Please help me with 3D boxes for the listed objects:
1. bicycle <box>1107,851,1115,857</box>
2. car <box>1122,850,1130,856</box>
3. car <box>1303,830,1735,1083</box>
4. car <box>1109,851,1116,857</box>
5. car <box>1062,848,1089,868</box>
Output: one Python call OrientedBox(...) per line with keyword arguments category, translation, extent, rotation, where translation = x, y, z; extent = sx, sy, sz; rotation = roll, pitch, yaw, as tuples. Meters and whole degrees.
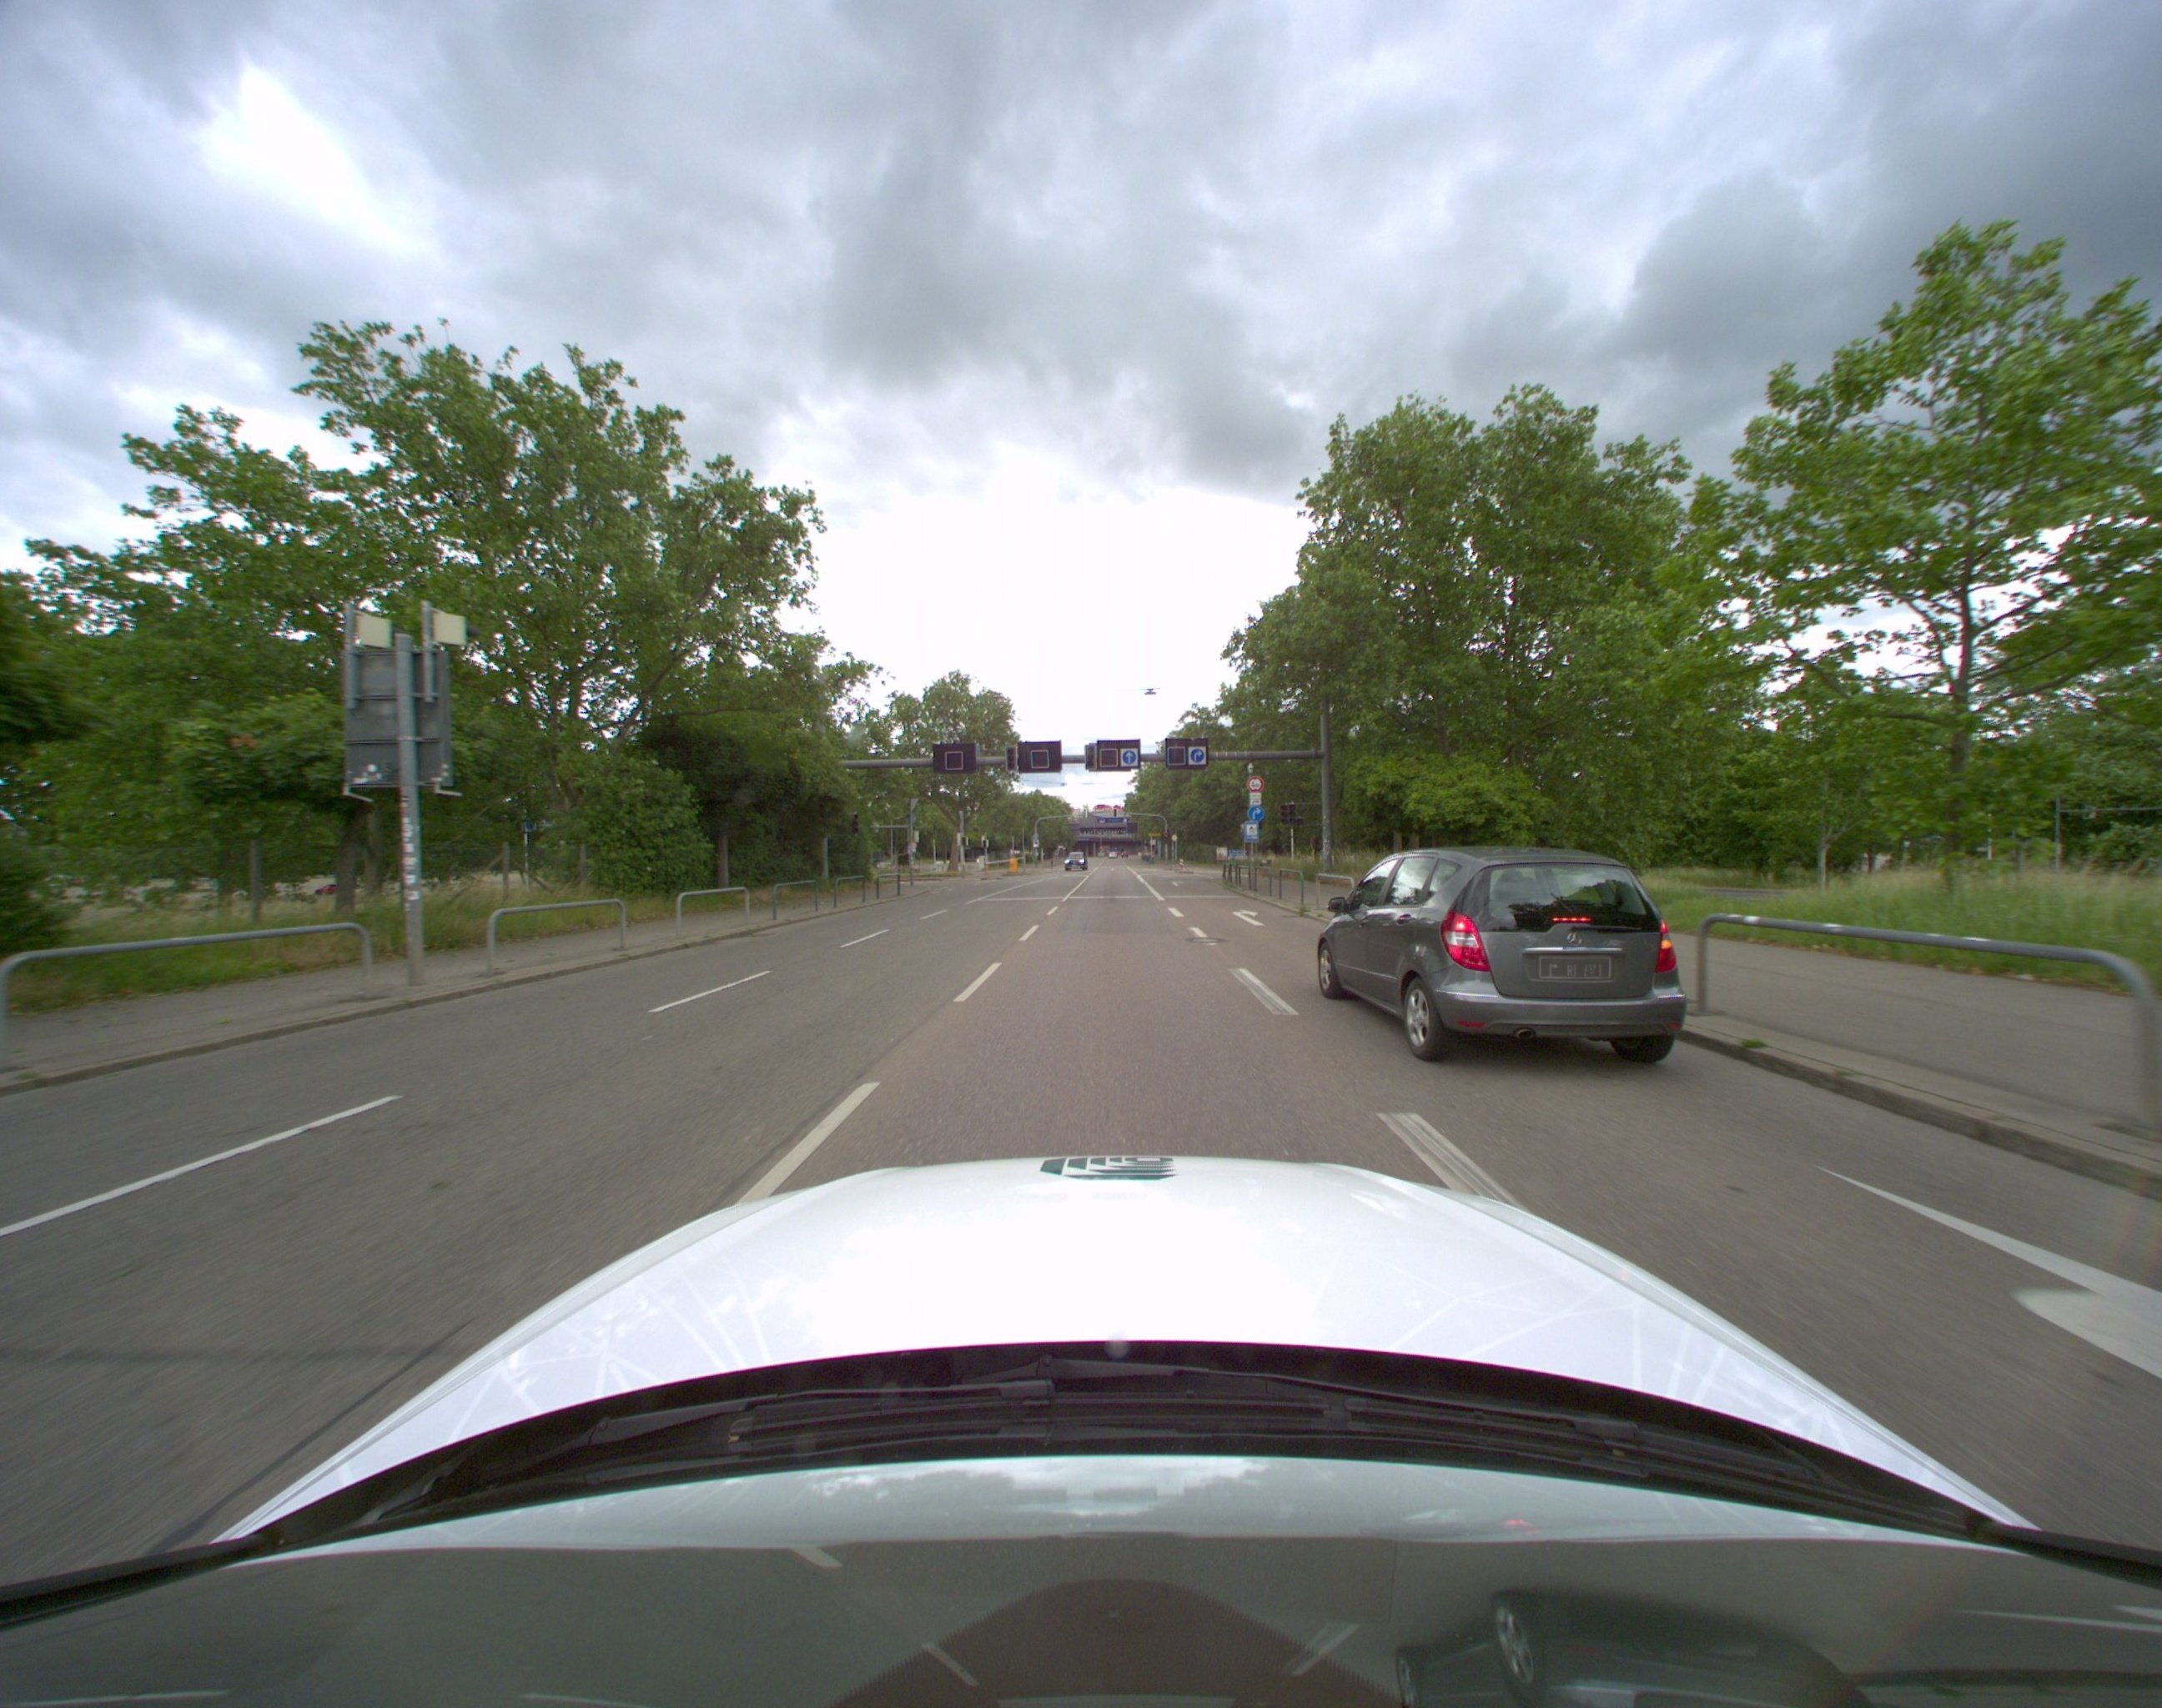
OrientedBox(category="bicycle", translation=(8.128, 0.075, 220.906), extent=(1.986, 1.508, 4.001), rotation=(-1, 0, 1))
OrientedBox(category="car", translation=(12.997, -0.201, 235.304), extent=(1.999, 1.698, 4.073), rotation=(-1, 0, 3))
OrientedBox(category="car", translation=(3.362, 0.638, 7.256), extent=(1.819, 1.616, 4.037), rotation=(-1, 1, 2))
OrientedBox(category="car", translation=(8.279, -0.043, 211.688), extent=(1.771, 1.460, 3.825), rotation=(1, 0, 3))
OrientedBox(category="car", translation=(-0.487, 0.356, 75.638), extent=(1.984, 1.660, 4.523), rotation=(-3, 0, 5))
